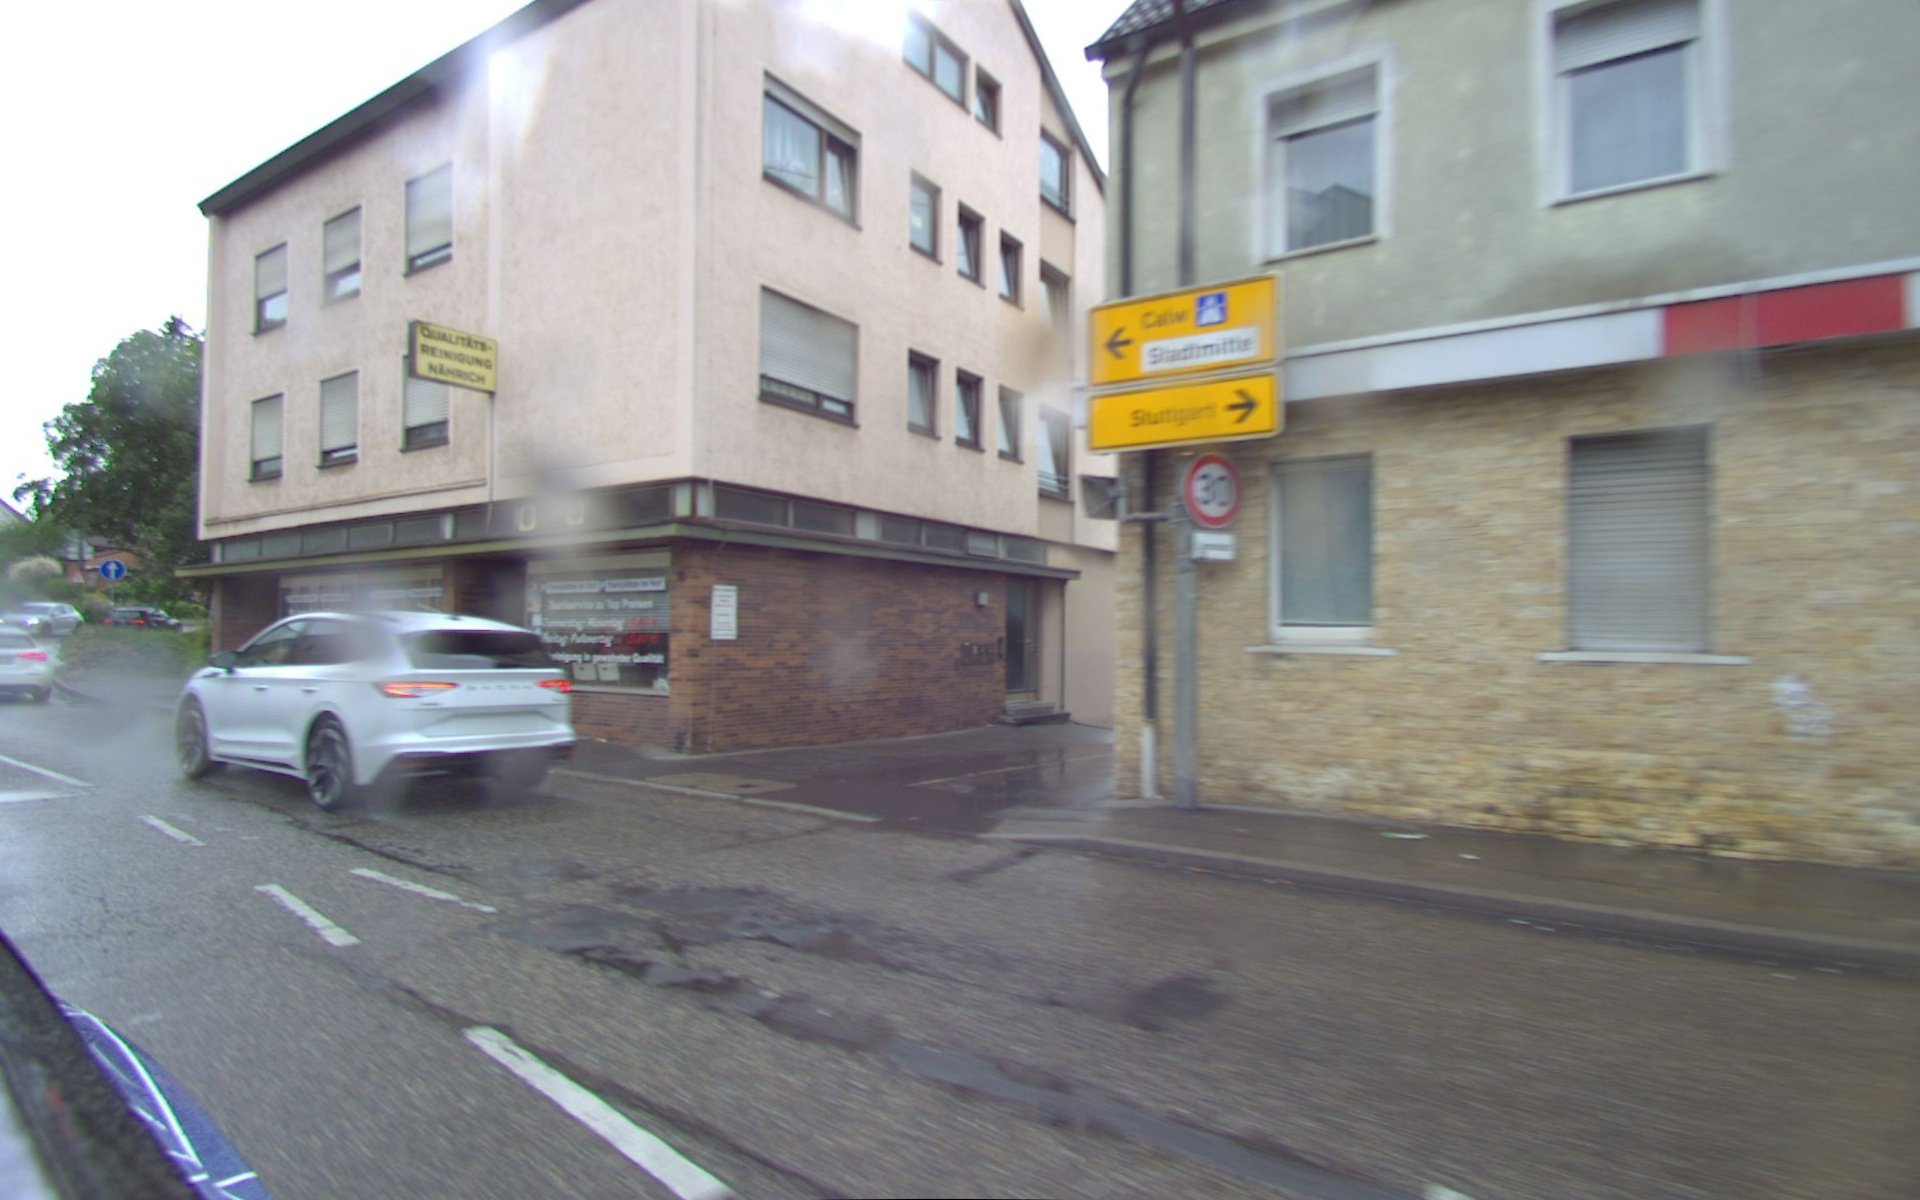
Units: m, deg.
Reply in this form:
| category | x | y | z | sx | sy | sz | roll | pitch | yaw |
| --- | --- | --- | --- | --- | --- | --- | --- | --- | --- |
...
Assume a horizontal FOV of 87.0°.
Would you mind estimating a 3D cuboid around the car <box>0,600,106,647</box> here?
| category | x | y | z | sx | sy | sz | roll | pitch | yaw |
| --- | --- | --- | --- | --- | --- | --- | --- | --- | --- |
| car | -40.761 | 1.089 | 45.082 | 1.871 | 1.672 | 4.954 | 1 | -6 | -10 |

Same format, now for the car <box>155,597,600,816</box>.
| category | x | y | z | sx | sy | sz | roll | pitch | yaw |
| --- | --- | --- | --- | --- | --- | --- | --- | --- | --- |
| car | -5.408 | 0.864 | 9.236 | 4.325 | 1.572 | 1.770 | -2 | -4 | 34 |

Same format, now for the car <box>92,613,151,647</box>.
| category | x | y | z | sx | sy | sz | roll | pitch | yaw |
| --- | --- | --- | --- | --- | --- | --- | --- | --- | --- |
| car | -37.336 | 1.323 | 45.142 | 1.747 | 1.412 | 3.928 | 4 | -3 | -36 |

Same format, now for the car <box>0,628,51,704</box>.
| category | x | y | z | sx | sy | sz | roll | pitch | yaw |
| --- | --- | --- | --- | --- | --- | --- | --- | --- | --- |
| car | -19.275 | 1.276 | 19.708 | 4.108 | 1.383 | 1.673 | -3 | -5 | 39 |
